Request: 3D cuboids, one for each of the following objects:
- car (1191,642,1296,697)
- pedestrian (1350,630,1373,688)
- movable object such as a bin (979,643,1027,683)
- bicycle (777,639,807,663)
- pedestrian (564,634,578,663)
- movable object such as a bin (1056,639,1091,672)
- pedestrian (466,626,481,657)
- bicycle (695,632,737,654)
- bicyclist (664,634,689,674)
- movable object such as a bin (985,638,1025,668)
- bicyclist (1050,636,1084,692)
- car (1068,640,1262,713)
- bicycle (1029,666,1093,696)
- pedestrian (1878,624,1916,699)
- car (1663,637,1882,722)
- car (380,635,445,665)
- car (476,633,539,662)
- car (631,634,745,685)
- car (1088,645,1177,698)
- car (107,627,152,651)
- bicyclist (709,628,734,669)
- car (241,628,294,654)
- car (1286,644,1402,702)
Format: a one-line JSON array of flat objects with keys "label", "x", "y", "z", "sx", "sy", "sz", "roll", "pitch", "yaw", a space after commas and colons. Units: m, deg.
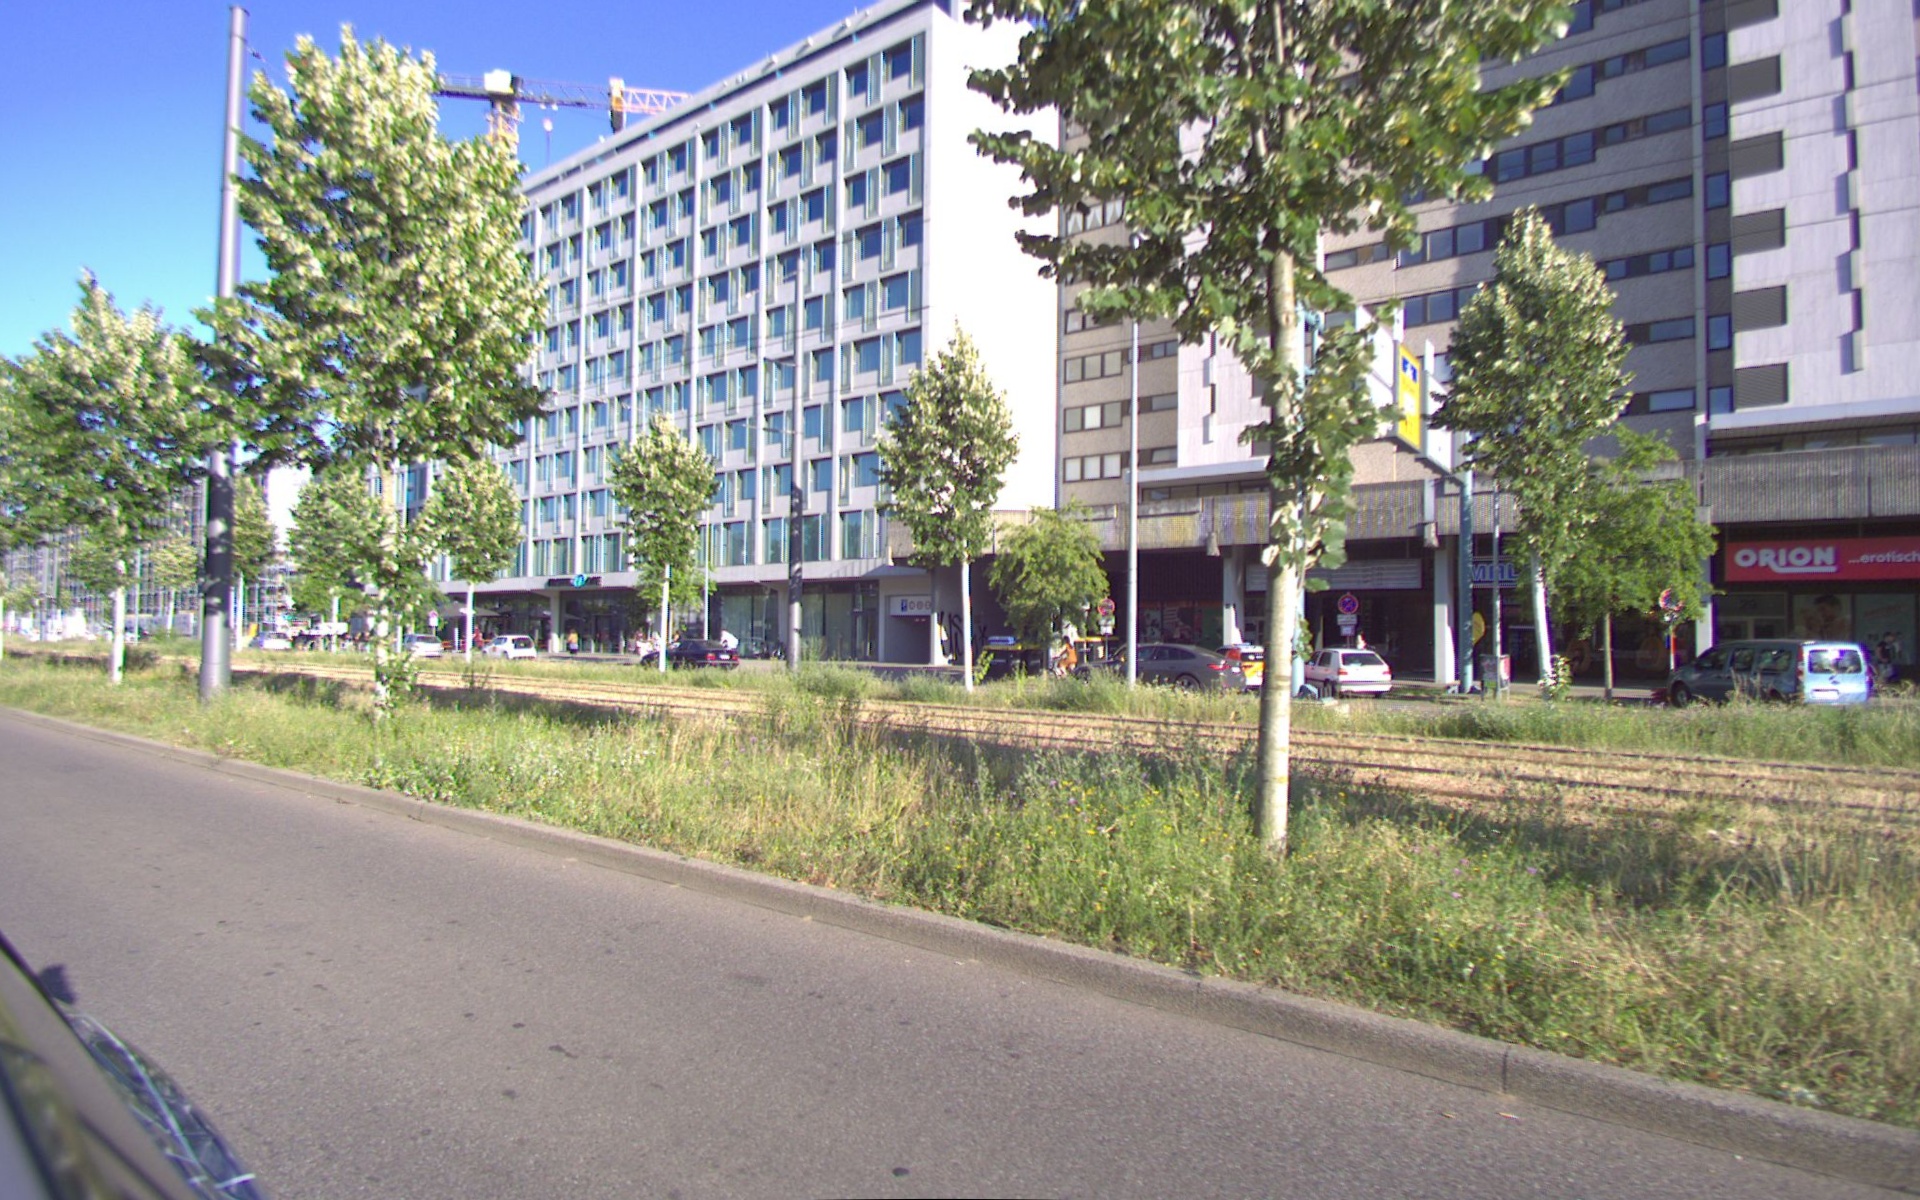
[{"label": "car", "x": 8.832, "y": 2.121, "z": 31.811, "sx": 1.761, "sy": 1.455, "sz": 3.809, "roll": 0, "pitch": 0, "yaw": -8}, {"label": "pedestrian", "x": 14.215, "y": 2.085, "z": 35.829, "sx": 0.653, "sy": 2.029, "sz": 0.542, "roll": -1, "pitch": -3, "yaw": 37}, {"label": "movable object such as a bin", "x": 1.546, "y": 2.241, "z": 36.038, "sx": 1.169, "sy": 1.382, "sz": 1.374, "roll": -1, "pitch": -3, "yaw": 36}, {"label": "bicycle", "x": -8.887, "y": 2.704, "z": 53.522, "sx": 1.712, "sy": 1.239, "sz": 0.391, "roll": -1, "pitch": -3, "yaw": 28}, {"label": "pedestrian", "x": -22.815, "y": 2.833, "z": 59.373, "sx": 0.596, "sy": 1.648, "sz": 0.473, "roll": -1, "pitch": -3, "yaw": 37}, {"label": "movable object such as a bin", "x": 4.798, "y": 2.331, "z": 42.873, "sx": 1.088, "sy": 1.382, "sz": 1.108, "roll": -1, "pitch": -3, "yaw": 36}, {"label": "pedestrian", "x": -32.343, "y": 2.758, "z": 67.293, "sx": 0.725, "sy": 2.029, "sz": 0.614, "roll": -1, "pitch": -3, "yaw": 37}, {"label": "bicycle", "x": -10.207, "y": 1.800, "z": 42.314, "sx": 2.098, "sy": 0.869, "sz": 0.432, "roll": -1, "pitch": -3, "yaw": 36}, {"label": "bicyclist", "x": -11.828, "y": 2.242, "z": 42.255, "sx": 0.917, "sy": 1.669, "sz": 0.533, "roll": -1, "pitch": -3, "yaw": 35}, {"label": "movable object such as a bin", "x": 2.016, "y": 2.370, "z": 45.391, "sx": 1.231, "sy": 1.344, "sz": 1.374, "roll": -1, "pitch": -3, "yaw": 36}, {"label": "bicyclist", "x": 3.372, "y": 2.014, "z": 32.003, "sx": 0.917, "sy": 1.758, "sz": 0.552, "roll": -1, "pitch": -3, "yaw": 35}, {"label": "car", "x": 5.271, "y": 1.923, "z": 26.377, "sx": 4.631, "sy": 1.600, "sz": 1.852, "roll": -1, "pitch": 0, "yaw": 37}, {"label": "bicycle", "x": 3.182, "y": 2.551, "z": 32.084, "sx": 2.098, "sy": 0.869, "sz": 0.432, "roll": -1, "pitch": -3, "yaw": 36}, {"label": "pedestrian", "x": 25.840, "y": 1.674, "z": 27.917, "sx": 0.653, "sy": 2.029, "sz": 0.542, "roll": -1, "pitch": -3, "yaw": 37}, {"label": "car", "x": 18.999, "y": 1.786, "z": 23.945, "sx": 1.597, "sy": 1.703, "sz": 4.200, "roll": 0, "pitch": 0, "yaw": -4}, {"label": "car", "x": -28.808, "y": 2.597, "z": 53.196, "sx": 3.873, "sy": 1.388, "sz": 1.594, "roll": -1, "pitch": 0, "yaw": 37}, {"label": "car", "x": -25.406, "y": 2.621, "z": 56.806, "sx": 3.384, "sy": 1.477, "sz": 1.852, "roll": -1, "pitch": 0, "yaw": 37}, {"label": "car", "x": -10.385, "y": 2.221, "z": 38.533, "sx": 4.481, "sy": 1.715, "sz": 1.852, "roll": -1, "pitch": 0, "yaw": 37}, {"label": "car", "x": 5.686, "y": 2.344, "z": 33.862, "sx": 1.595, "sy": 1.455, "sz": 4.555, "roll": 0, "pitch": 0, "yaw": -8}, {"label": "car", "x": -64.743, "y": 2.998, "z": 78.883, "sx": 3.787, "sy": 1.765, "sz": 1.852, "roll": -1, "pitch": 0, "yaw": 37}, {"label": "bicyclist", "x": -9.916, "y": 2.020, "z": 42.113, "sx": 0.917, "sy": 1.669, "sz": 0.533, "roll": -1, "pitch": -3, "yaw": 35}, {"label": "car", "x": -45.540, "y": 2.677, "z": 66.534, "sx": 3.477, "sy": 1.603, "sz": 1.852, "roll": -1, "pitch": 0, "yaw": 37}, {"label": "car", "x": 11.220, "y": 2.094, "z": 29.858, "sx": 1.596, "sy": 1.455, "sz": 3.798, "roll": 0, "pitch": 0, "yaw": -7}]
